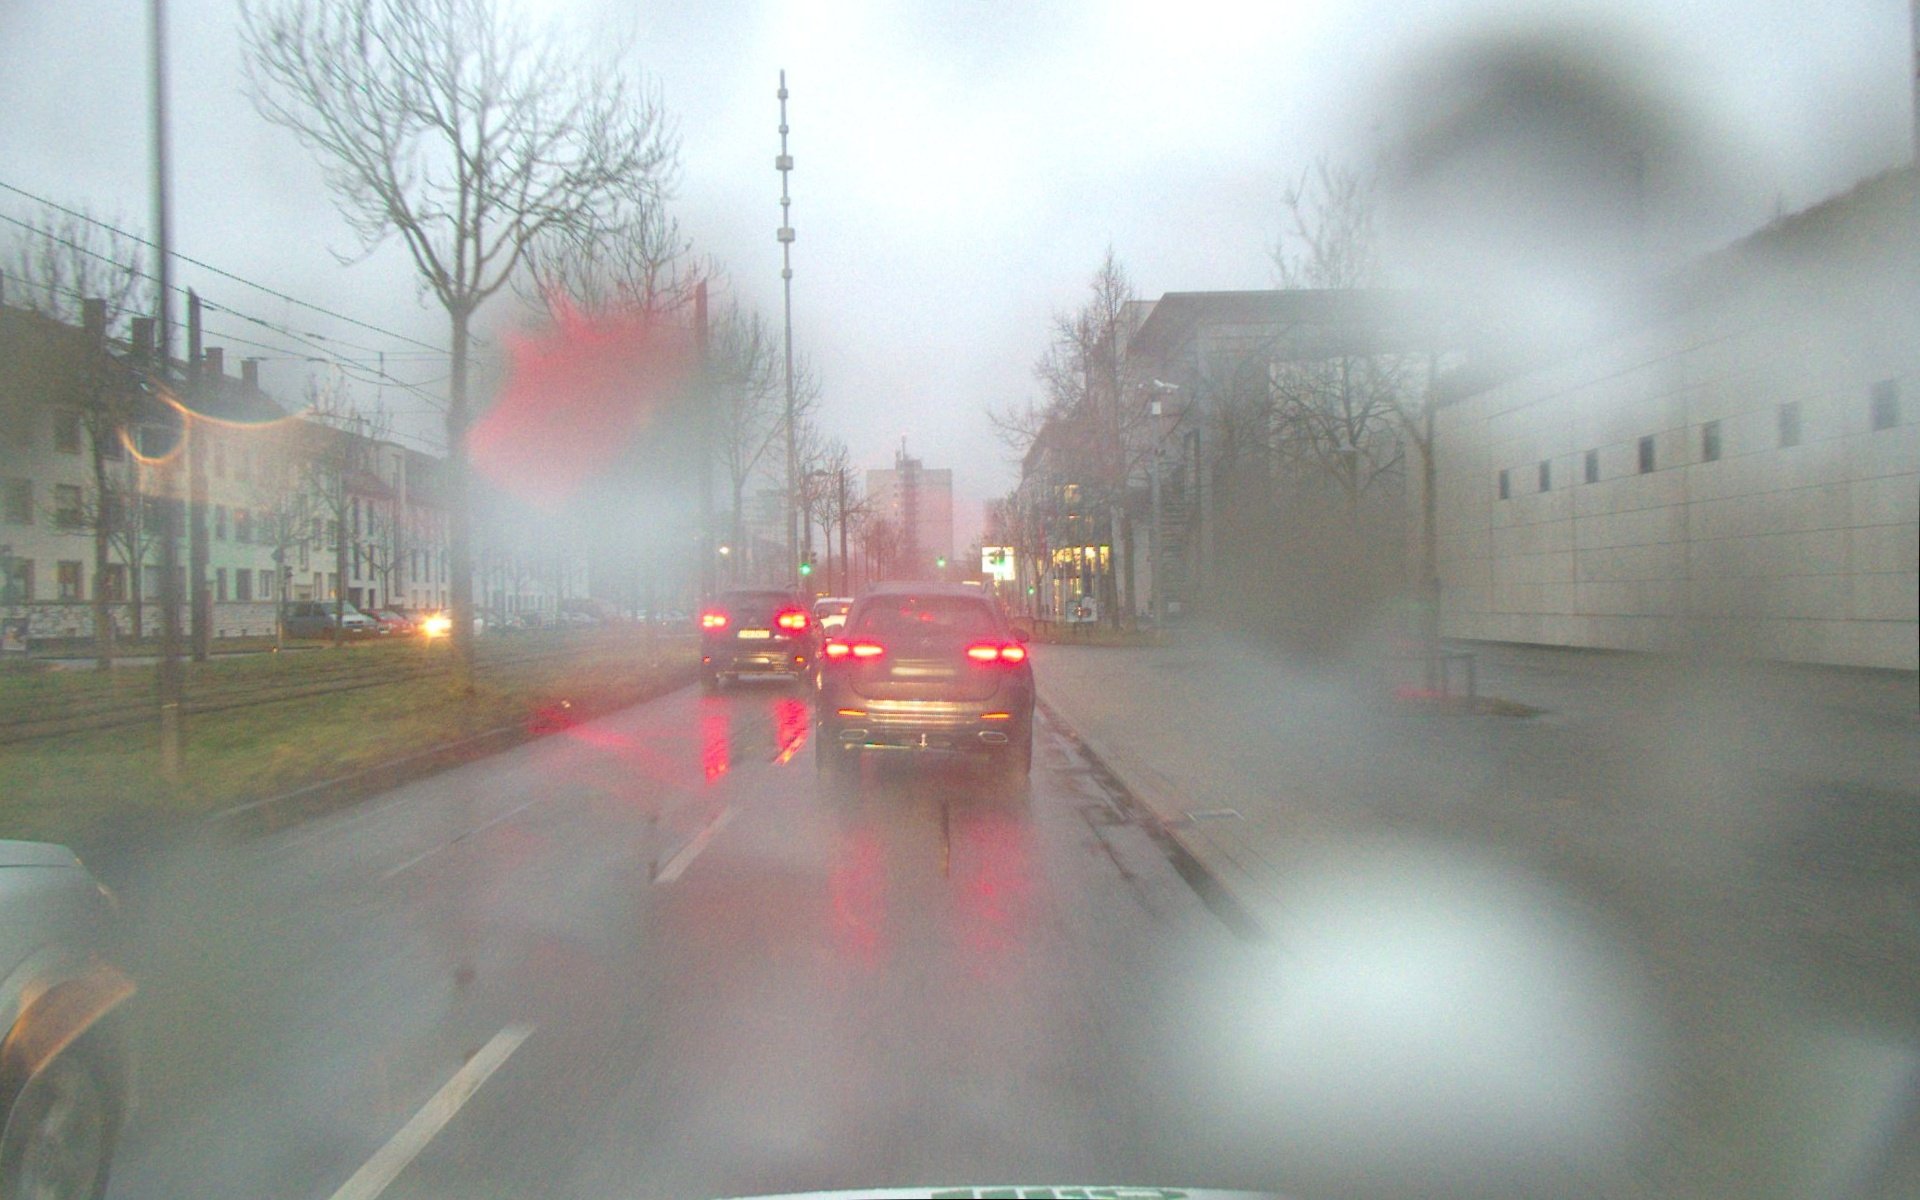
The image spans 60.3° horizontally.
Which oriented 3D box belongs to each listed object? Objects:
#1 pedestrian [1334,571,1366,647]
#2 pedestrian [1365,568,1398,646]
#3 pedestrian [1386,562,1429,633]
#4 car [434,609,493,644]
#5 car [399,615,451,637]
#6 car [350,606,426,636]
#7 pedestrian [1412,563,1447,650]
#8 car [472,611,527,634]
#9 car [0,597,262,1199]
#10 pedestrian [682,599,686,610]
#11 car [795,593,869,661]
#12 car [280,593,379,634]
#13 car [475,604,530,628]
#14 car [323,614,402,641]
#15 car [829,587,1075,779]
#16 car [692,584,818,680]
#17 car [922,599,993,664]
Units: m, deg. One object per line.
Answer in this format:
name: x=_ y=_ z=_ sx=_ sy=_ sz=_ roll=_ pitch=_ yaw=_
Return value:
pedestrian: x=8.573 y=0.194 z=36.330 sx=0.658 sy=1.653 sz=0.615 roll=1 pitch=0 yaw=15
pedestrian: x=8.886 y=0.147 z=34.895 sx=0.658 sy=1.640 sz=0.615 roll=1 pitch=0 yaw=13
pedestrian: x=10.947 y=-0.057 z=40.469 sx=0.654 sy=1.684 sz=0.993 roll=-2 pitch=-1 yaw=-6
car: x=-22.559 y=1.196 z=75.308 sx=1.514 sy=1.530 sz=3.783 roll=1 pitch=0 yaw=0
car: x=-27.942 y=1.372 z=86.351 sx=2.341 sy=1.067 sz=1.433 roll=1 pitch=1 yaw=32
car: x=-27.858 y=1.017 z=80.575 sx=3.504 sy=1.332 sz=1.682 roll=1 pitch=0 yaw=32
pedestrian: x=9.858 y=0.142 z=34.742 sx=0.658 sy=1.809 sz=0.615 roll=1 pitch=0 yaw=13
car: x=-27.931 y=1.357 z=100.343 sx=2.874 sy=1.359 sz=1.733 roll=1 pitch=0 yaw=32
car: x=-2.580 y=0.735 z=2.183 sx=1.654 sy=1.500 sz=4.000 roll=1 pitch=0 yaw=-1
pedestrian: x=-31.200 y=0.531 z=186.907 sx=0.343 sy=1.205 sz=0.427 roll=1 pitch=-1 yaw=-41
car: x=-3.247 y=0.672 z=42.533 sx=1.655 sy=1.664 sz=3.473 roll=1 pitch=0 yaw=-1
car: x=-28.256 y=0.601 z=74.136 sx=4.562 sy=1.754 sz=1.828 roll=1 pitch=0 yaw=33
car: x=-28.523 y=0.990 z=103.191 sx=3.320 sy=1.446 sz=1.662 roll=1 pitch=0 yaw=38
car: x=-28.111 y=1.277 z=77.780 sx=3.496 sy=1.161 sz=1.732 roll=1 pitch=0 yaw=32
car: x=-0.091 y=0.680 z=15.083 sx=1.953 sy=1.509 sz=3.699 roll=1 pitch=-1 yaw=-1
car: x=-3.390 y=0.511 z=27.920 sx=1.781 sy=1.476 sz=3.998 roll=1 pitch=0 yaw=-3
car: x=-0.096 y=0.832 z=44.585 sx=1.817 sy=1.664 sz=3.473 roll=1 pitch=0 yaw=-1
